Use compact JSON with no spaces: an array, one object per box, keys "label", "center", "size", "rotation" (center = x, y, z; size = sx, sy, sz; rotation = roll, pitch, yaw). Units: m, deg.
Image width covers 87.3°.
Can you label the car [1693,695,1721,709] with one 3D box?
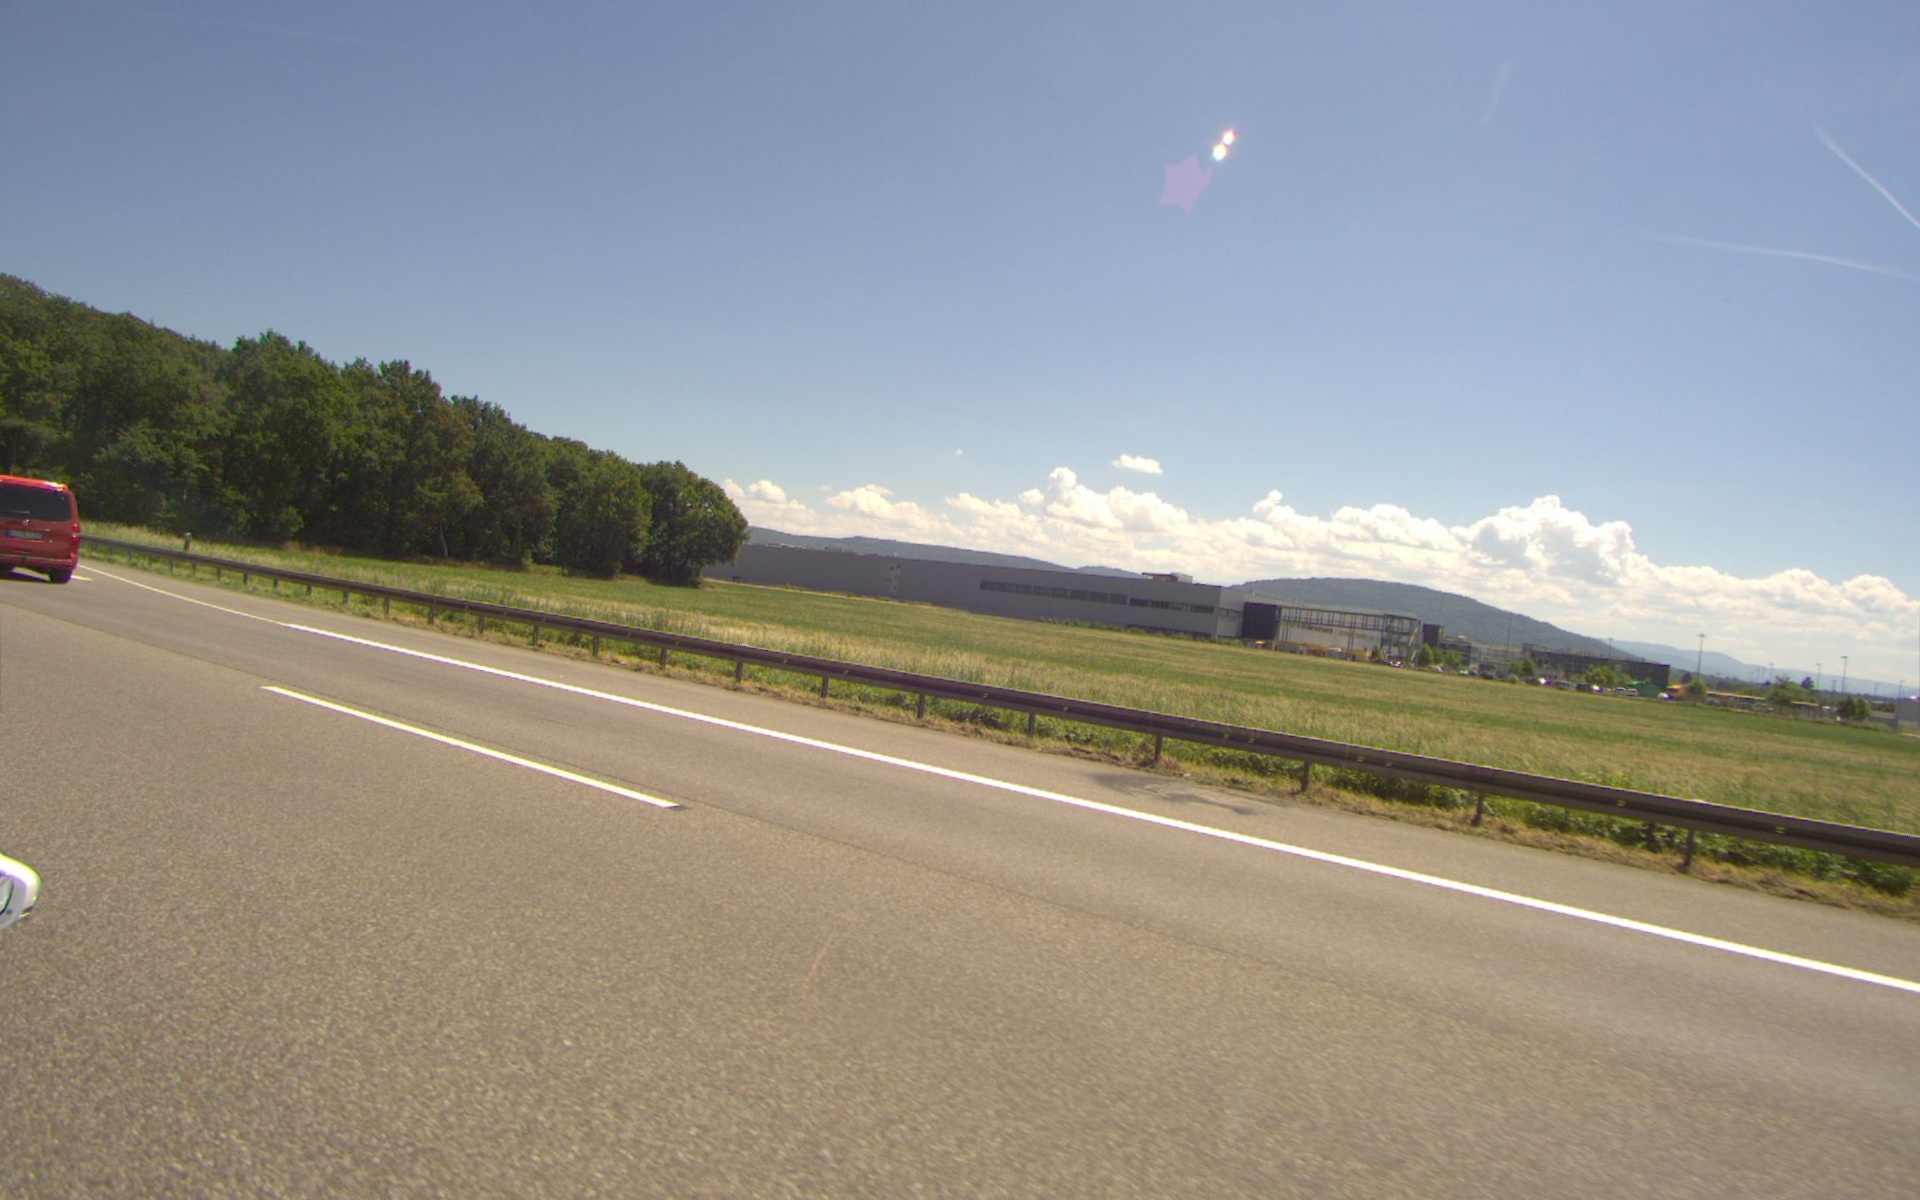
[{"label":"car","center":[137.593,18.772,185.355],"size":[3.939,2.038,1.869],"rotation":[6,-1,37]}]

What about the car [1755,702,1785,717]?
[{"label":"car","center":[144.767,19.531,179.850],"size":[3.939,2.038,1.869],"rotation":[6,-1,37]}]

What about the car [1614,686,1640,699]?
[{"label":"car","center":[128.098,17.789,193.187],"size":[3.939,2.038,1.869],"rotation":[6,-1,37]}]

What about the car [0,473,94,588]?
[{"label":"car","center":[-20.267,-1.603,20.763],"size":[5.429,2.026,1.859],"rotation":[6,-2,31]}]

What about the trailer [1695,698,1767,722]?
[{"label":"trailer","center":[150.170,21.423,196.115],"size":[10.810,3.185,1.992],"rotation":[6,0,39]}]
